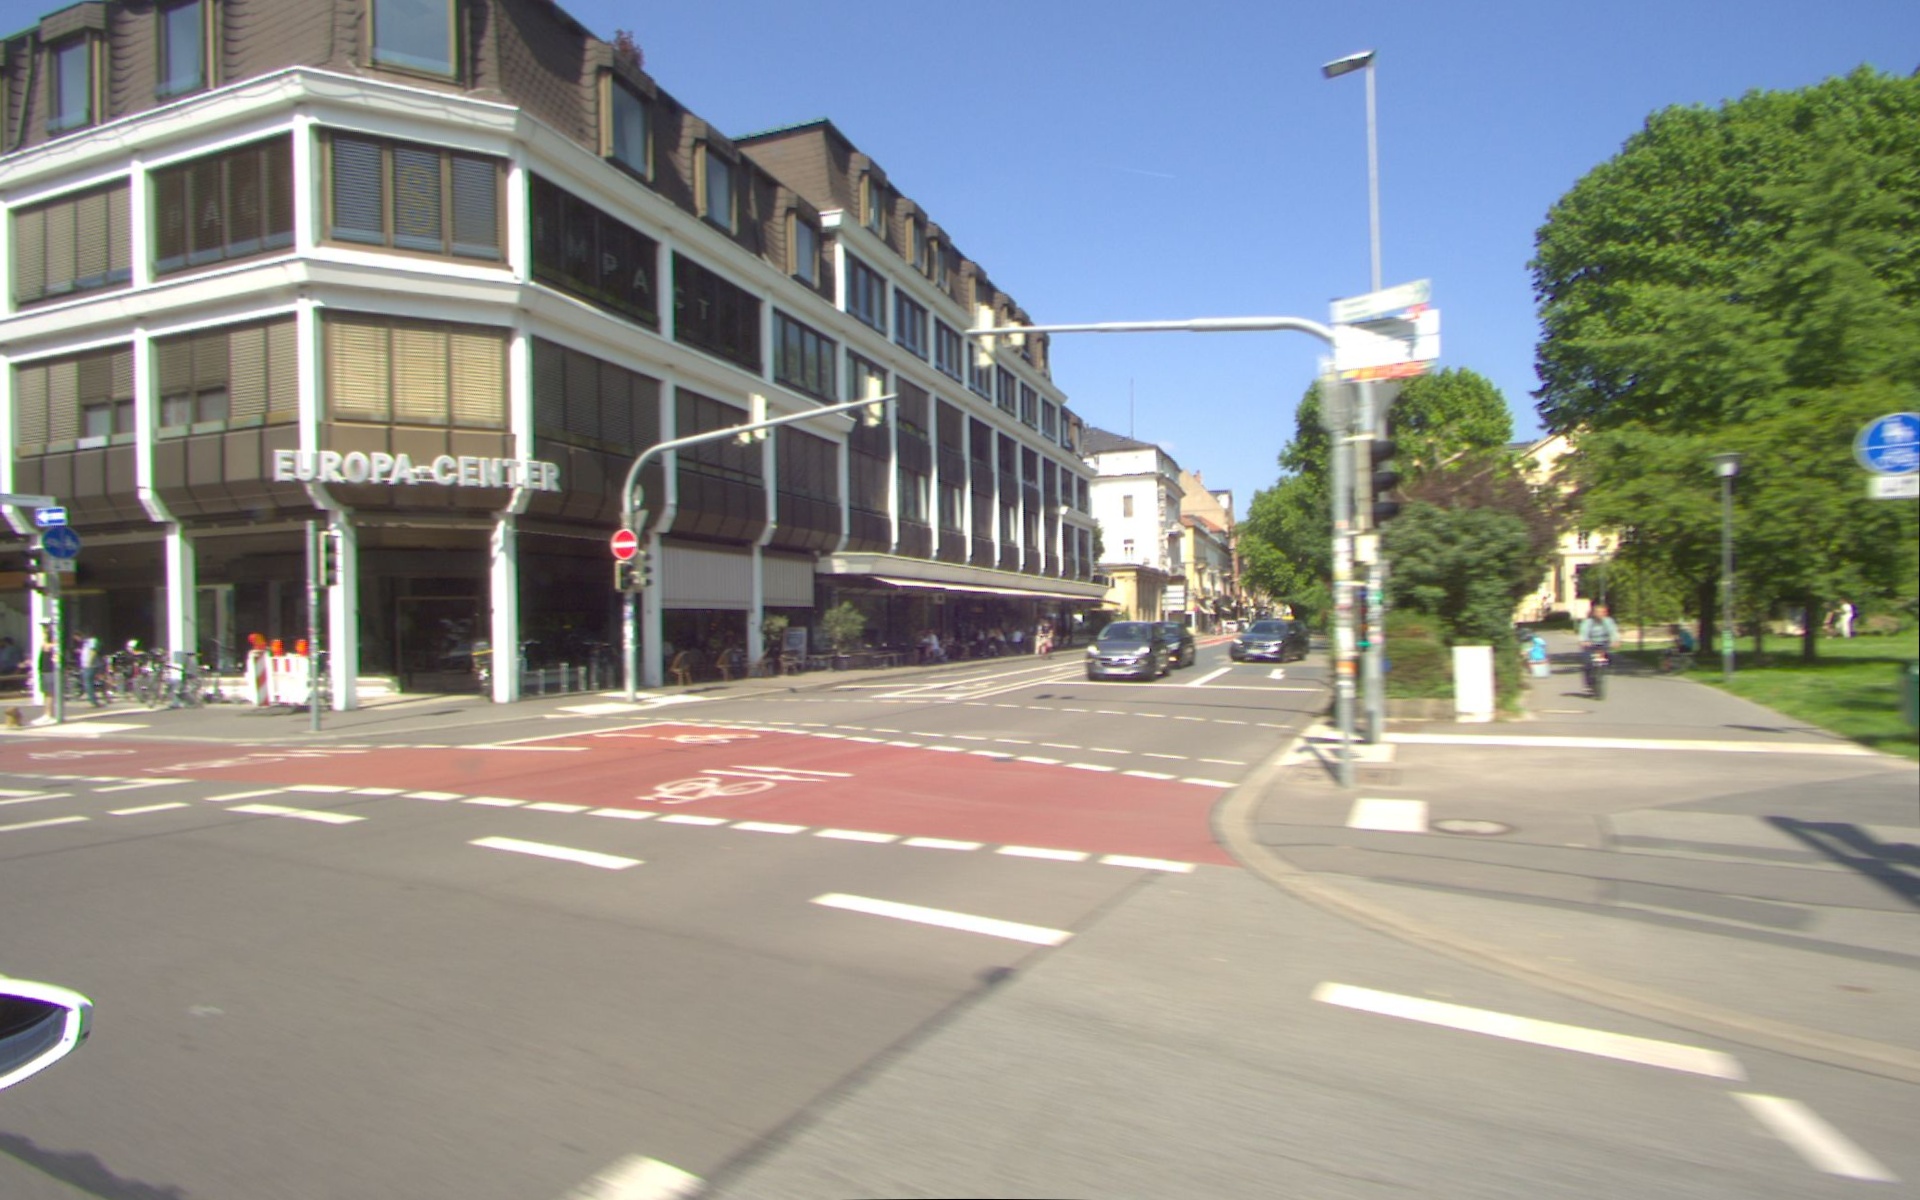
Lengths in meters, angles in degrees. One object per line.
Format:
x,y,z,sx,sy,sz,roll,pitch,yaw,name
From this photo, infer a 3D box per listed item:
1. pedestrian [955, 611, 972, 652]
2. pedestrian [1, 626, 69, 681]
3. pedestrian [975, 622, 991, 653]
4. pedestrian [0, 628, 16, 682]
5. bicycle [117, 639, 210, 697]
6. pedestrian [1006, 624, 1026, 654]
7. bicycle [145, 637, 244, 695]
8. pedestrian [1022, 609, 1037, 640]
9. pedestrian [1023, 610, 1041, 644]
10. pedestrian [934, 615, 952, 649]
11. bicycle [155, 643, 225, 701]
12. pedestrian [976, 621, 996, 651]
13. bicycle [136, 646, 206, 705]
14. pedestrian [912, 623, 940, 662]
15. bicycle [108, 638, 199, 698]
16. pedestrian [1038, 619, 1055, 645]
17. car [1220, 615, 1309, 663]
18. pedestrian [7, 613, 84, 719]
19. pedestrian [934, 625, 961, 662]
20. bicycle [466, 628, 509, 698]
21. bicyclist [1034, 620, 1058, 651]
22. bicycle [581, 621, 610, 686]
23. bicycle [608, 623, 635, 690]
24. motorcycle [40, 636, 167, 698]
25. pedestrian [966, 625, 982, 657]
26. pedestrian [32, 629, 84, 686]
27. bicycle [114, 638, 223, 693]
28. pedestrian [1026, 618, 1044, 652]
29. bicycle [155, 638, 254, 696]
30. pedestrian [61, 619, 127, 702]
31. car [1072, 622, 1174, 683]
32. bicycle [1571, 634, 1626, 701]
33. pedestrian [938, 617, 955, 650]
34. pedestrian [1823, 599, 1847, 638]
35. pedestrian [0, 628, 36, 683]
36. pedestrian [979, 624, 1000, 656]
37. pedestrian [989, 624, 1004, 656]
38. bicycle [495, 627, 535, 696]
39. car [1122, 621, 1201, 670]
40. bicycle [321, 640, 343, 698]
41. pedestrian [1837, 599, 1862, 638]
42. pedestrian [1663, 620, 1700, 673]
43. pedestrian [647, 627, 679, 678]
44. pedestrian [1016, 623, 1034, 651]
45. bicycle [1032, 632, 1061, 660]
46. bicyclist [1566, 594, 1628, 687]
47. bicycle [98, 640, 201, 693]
0.146,1.399,43.972,0.576,1.780,0.485,-1,0,21,pedestrian
-23.988,1.387,25.975,1.086,1.368,0.897,-2,-1,20,pedestrian
1.041,1.708,45.421,0.563,1.411,0.568,-1,0,21,pedestrian
-25.826,1.475,26.636,0.684,1.414,0.814,-2,-1,19,pedestrian
-17.139,1.435,21.593,0.273,1.135,1.569,-1,1,28,bicycle
2.691,1.857,48.020,0.745,1.411,0.715,-1,0,21,pedestrian
-16.545,1.412,21.694,0.273,1.135,1.715,-1,1,28,bicycle
3.856,1.353,55.608,0.610,1.667,0.715,-1,0,21,pedestrian
3.749,1.380,51.949,0.745,1.751,0.796,-1,0,21,pedestrian
-0.715,1.357,42.049,0.563,1.411,0.568,-1,0,21,pedestrian
-15.811,1.452,20.543,2.209,1.135,0.276,-1,0,29,bicycle
1.240,1.682,47.053,0.745,1.411,0.715,-1,0,21,pedestrian
-15.904,1.504,20.166,2.209,1.135,0.276,-1,0,29,bicycle
-1.273,1.595,37.760,0.745,1.411,0.927,-1,0,21,pedestrian
-17.474,1.446,21.731,0.273,1.222,1.544,-1,-1,28,bicycle
4.769,1.731,54.955,0.745,1.411,0.715,-1,0,21,pedestrian
10.968,1.358,35.828,2.034,1.604,4.725,-1,-1,30,car
-16.714,1.194,18.315,0.686,1.859,0.831,-3,-1,30,pedestrian
-0.486,1.701,39.520,0.745,1.411,0.927,-1,0,21,pedestrian
-9.808,1.282,20.830,0.521,1.334,1.963,-1,0,-17,bicycle
3.764,1.538,43.674,0.768,1.325,0.941,-2,-1,19,bicyclist
-8.594,1.235,23.663,0.521,1.441,1.963,-1,0,-17,bicycle
-7.918,1.291,23.452,0.521,1.441,1.963,-1,0,-17,bicycle
-20.100,1.540,23.557,2.218,1.307,0.941,-1,-1,-41,motorcycle
0.640,1.833,44.768,0.563,1.411,0.568,-1,0,21,pedestrian
-23.099,1.469,25.648,0.685,1.414,0.712,-2,-1,20,pedestrian
-17.830,1.454,22.628,0.272,1.135,2.241,0,-1,14,bicycle
3.569,1.662,47.644,0.606,1.633,0.871,-1,0,20,pedestrian
-16.198,1.417,21.513,0.273,1.135,1.715,-1,1,28,bicycle
-18.267,1.273,21.132,0.686,1.685,0.831,-2,0,30,pedestrian
4.286,1.283,25.849,1.827,1.381,4.087,0,0,21,car
11.382,1.181,17.876,0.773,1.134,1.670,-2,-3,32,bicycle
-0.569,1.417,42.485,0.563,1.411,0.568,-1,0,21,pedestrian
39.365,0.843,45.056,0.679,1.705,0.659,-1,-1,32,pedestrian
-25.031,1.468,26.397,0.685,1.414,0.712,-2,-1,20,pedestrian
1.319,1.771,44.527,0.745,1.411,0.715,-1,0,21,pedestrian
1.639,1.800,45.105,0.534,1.411,0.553,-1,0,21,pedestrian
-9.333,1.267,21.044,0.521,1.334,1.855,-1,0,-17,bicycle
6.459,1.388,31.797,1.827,1.381,4.088,0,0,21,car
-12.523,1.355,19.957,0.305,1.079,1.462,-2,1,-33,bicycle
39.295,0.827,44.253,0.679,1.705,0.659,-1,-1,32,pedestrian
17.897,1.143,24.851,0.705,1.286,0.451,-1,-1,33,pedestrian
-8.234,1.445,27.782,0.814,1.352,0.970,-1,0,-15,pedestrian
3.278,1.849,50.527,0.745,1.411,0.715,-1,0,21,pedestrian
3.787,2.000,43.728,0.751,1.135,2.118,-2,-1,19,bicycle
11.312,0.717,17.796,0.856,1.595,0.938,-2,-1,32,bicyclist
-18.409,1.488,22.818,0.272,1.111,2.243,0,-1,8,bicycle
